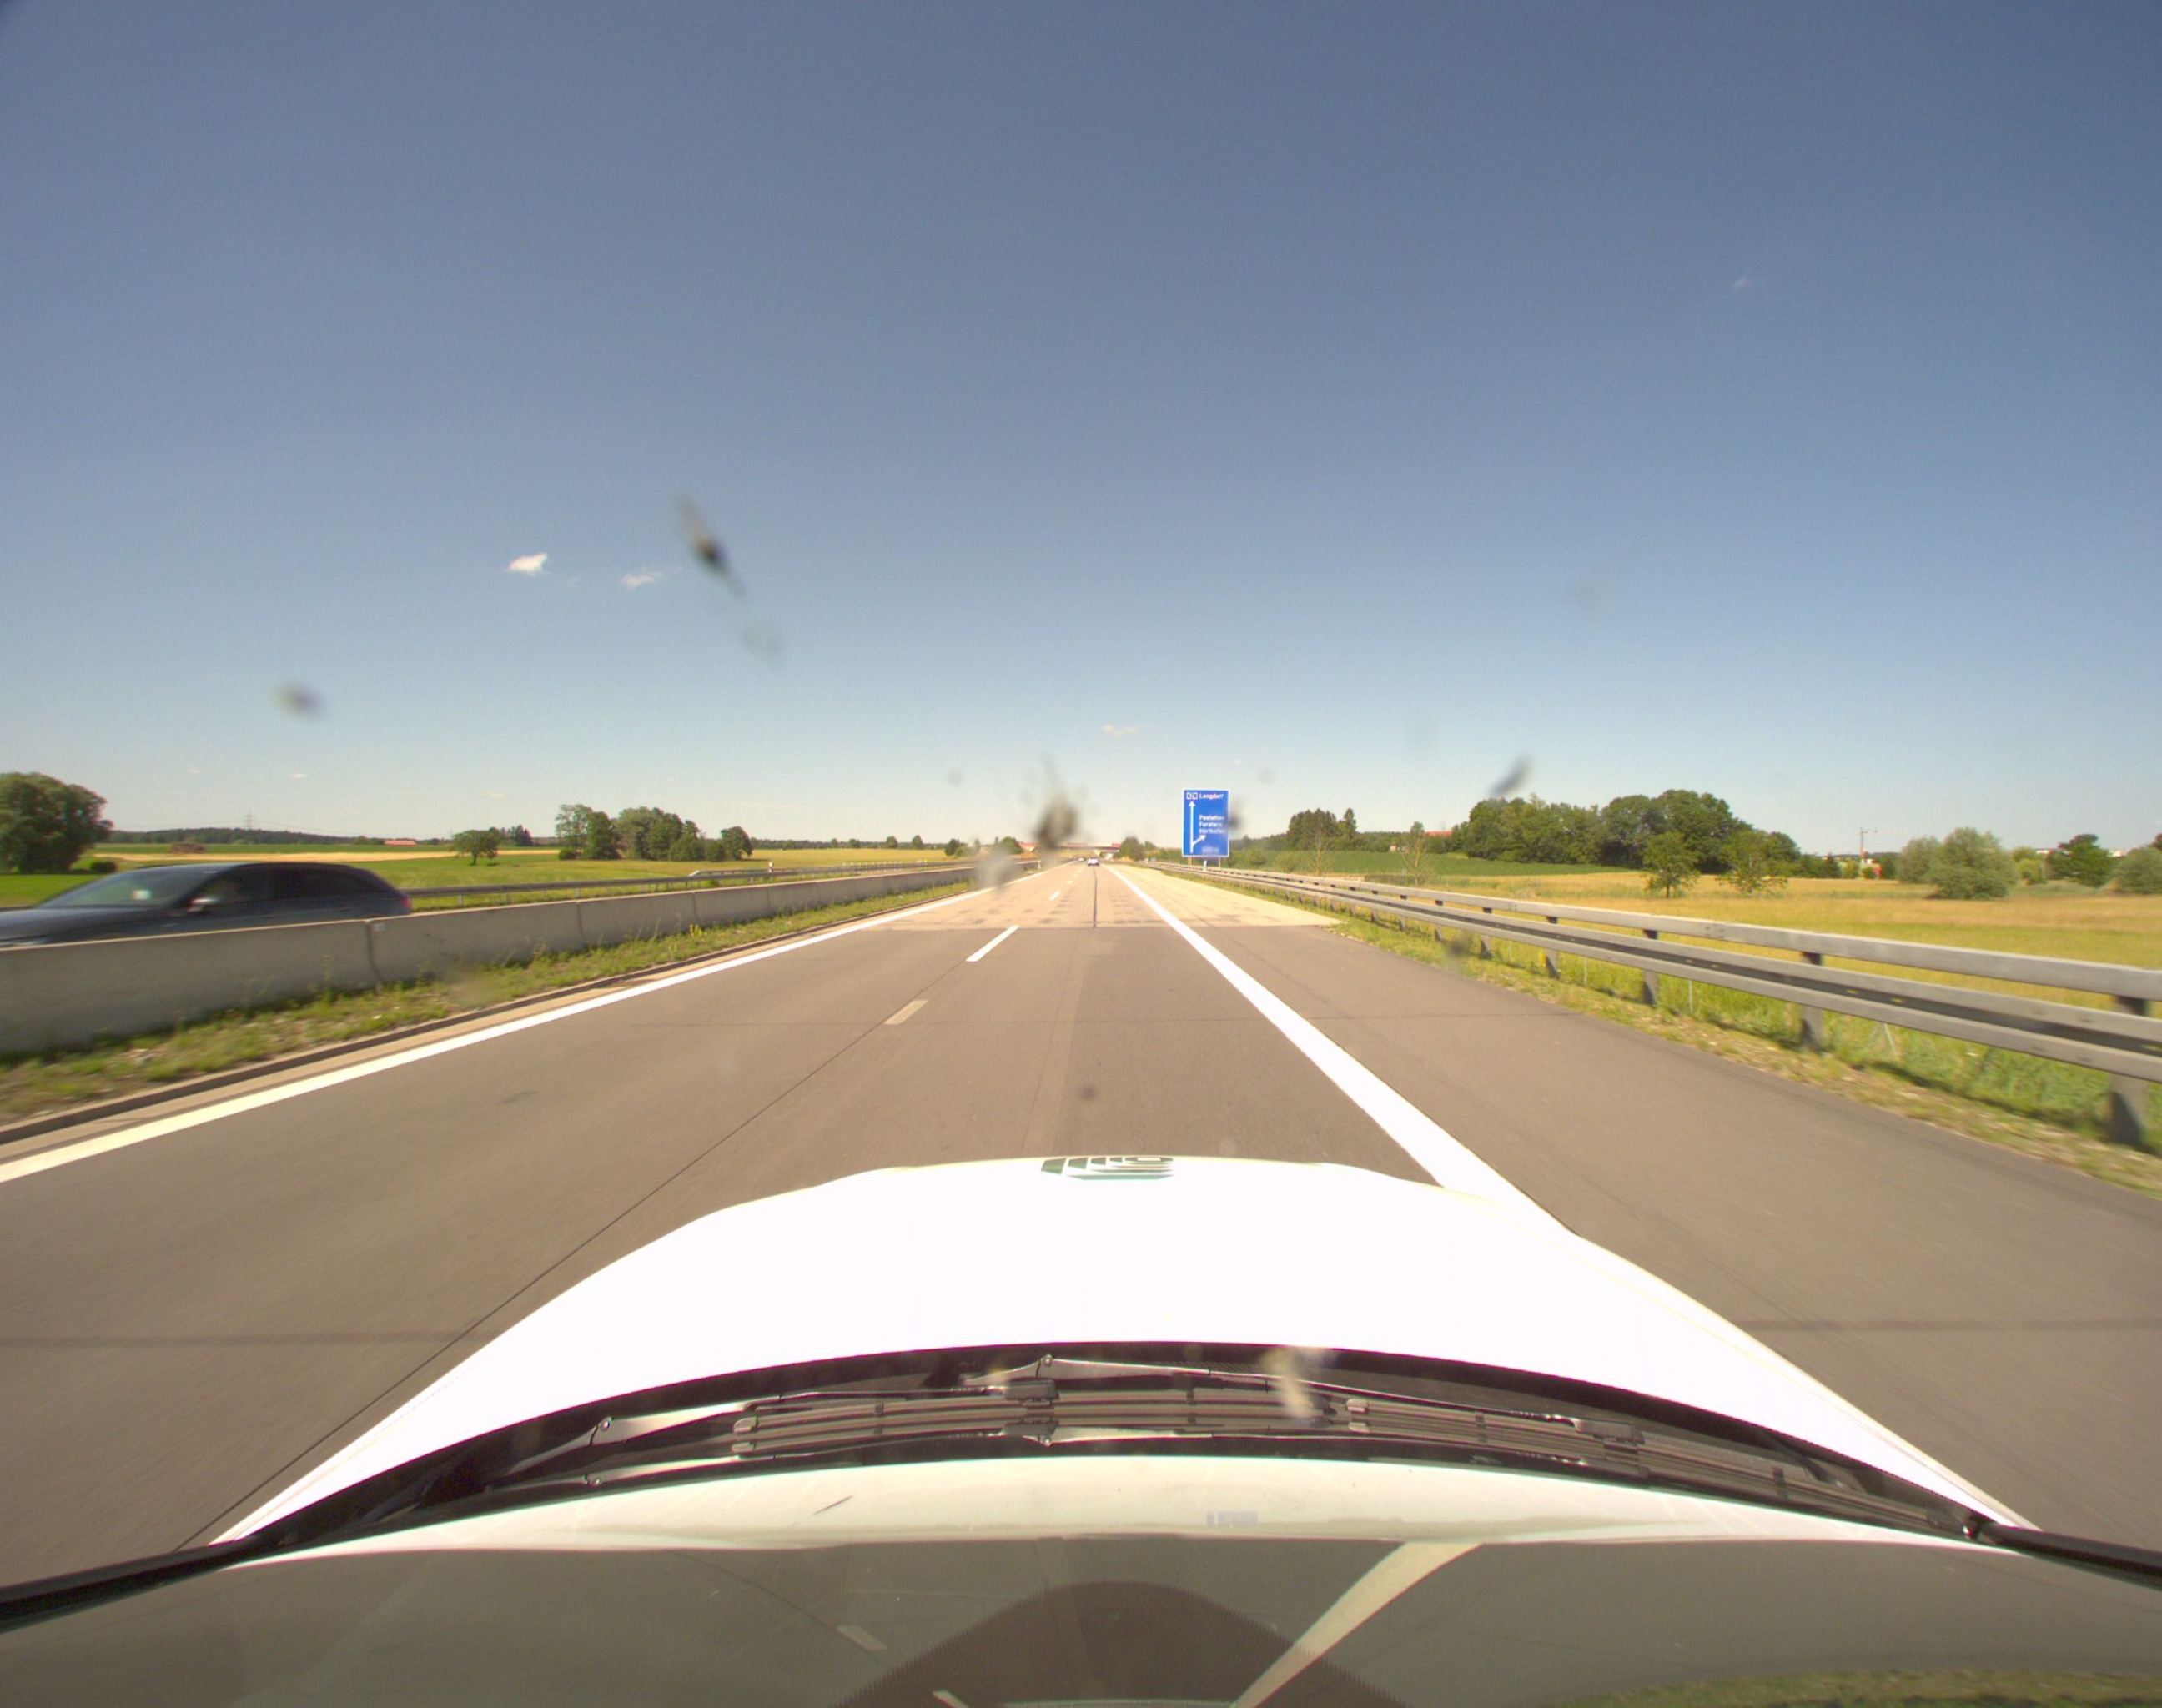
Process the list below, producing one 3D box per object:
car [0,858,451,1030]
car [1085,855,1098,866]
[{"bbox_3d":[-10.379,0.831,9.704,1.891,1.523,4.807,-1,0,1],"label":"car"},{"bbox_3d":[1.755,1.111,133.101,1.988,1.731,4.867,0,0,-1],"label":"car"}]
